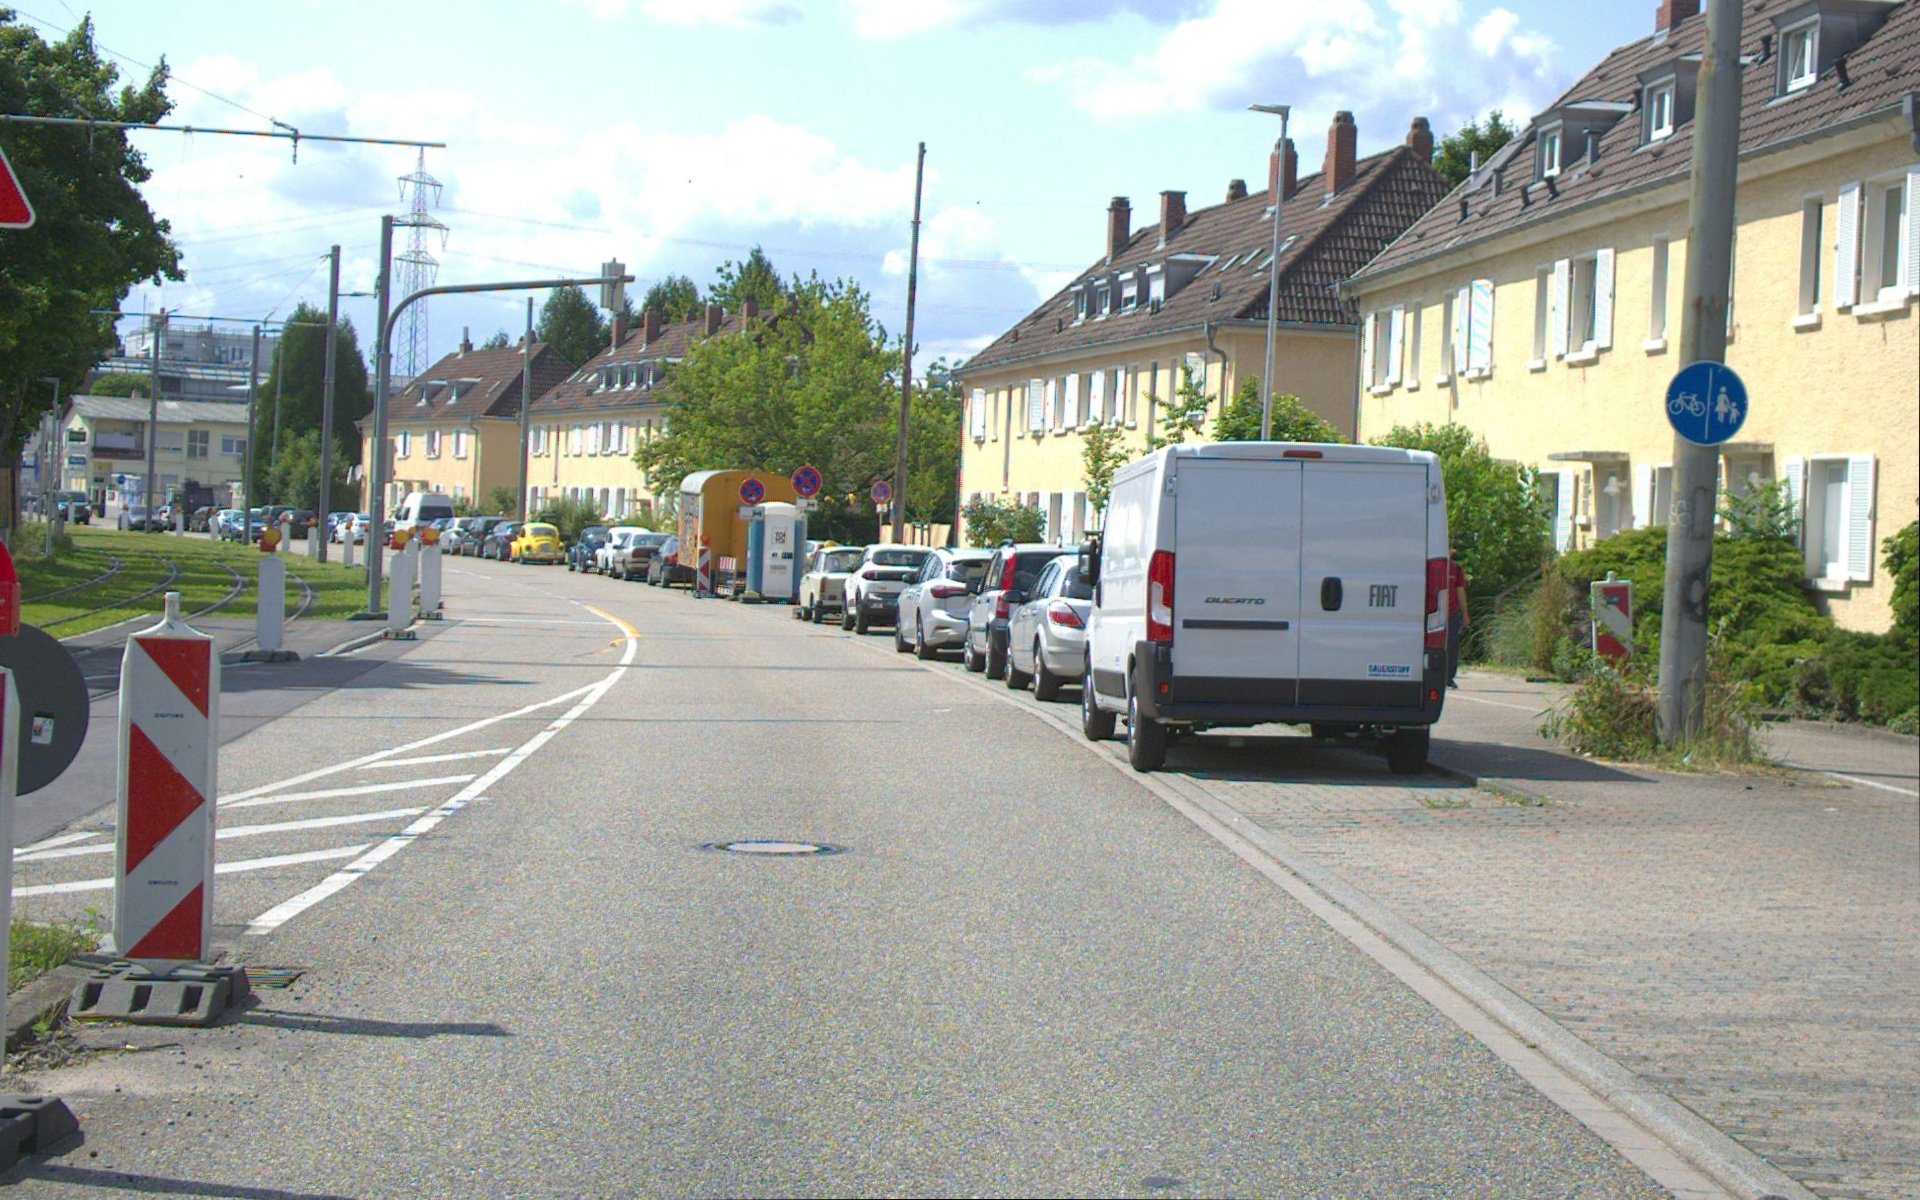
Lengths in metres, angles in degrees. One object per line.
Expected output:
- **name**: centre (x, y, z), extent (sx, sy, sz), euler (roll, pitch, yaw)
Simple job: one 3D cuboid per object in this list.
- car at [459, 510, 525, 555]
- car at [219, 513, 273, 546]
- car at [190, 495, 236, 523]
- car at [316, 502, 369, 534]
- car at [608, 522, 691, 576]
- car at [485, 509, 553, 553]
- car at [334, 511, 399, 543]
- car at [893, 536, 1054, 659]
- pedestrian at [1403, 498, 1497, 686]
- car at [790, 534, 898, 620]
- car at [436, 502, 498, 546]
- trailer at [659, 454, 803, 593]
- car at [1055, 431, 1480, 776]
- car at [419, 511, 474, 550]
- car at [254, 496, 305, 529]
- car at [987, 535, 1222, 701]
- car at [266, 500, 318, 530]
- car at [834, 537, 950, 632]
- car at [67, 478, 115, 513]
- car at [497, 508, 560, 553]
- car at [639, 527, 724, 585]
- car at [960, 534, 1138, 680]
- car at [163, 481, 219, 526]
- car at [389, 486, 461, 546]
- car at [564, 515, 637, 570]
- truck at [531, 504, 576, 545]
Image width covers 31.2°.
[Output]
- **car**: centre (-18.156, -2.622, 133.330), extent (1.635, 1.597, 3.933), euler (3, 1, -21)
- **car**: centre (-32.019, -3.176, 154.109), extent (1.665, 1.444, 3.961), euler (0, 2, -22)
- **car**: centre (-41.609, -5.061, 191.459), extent (1.763, 1.497, 4.001), euler (0, 2, -23)
- **car**: centre (-29.416, -3.919, 163.781), extent (1.620, 1.412, 4.001), euler (0, 2, -23)
- **car**: centre (-9.167, -1.508, 101.136), extent (1.706, 1.444, 4.837), euler (2, 1, -13)
- **car**: centre (-16.432, -2.590, 127.967), extent (1.635, 1.477, 4.126), euler (3, 1, -19)
- **car**: centre (-27.441, -3.379, 158.847), extent (1.798, 1.453, 4.766), euler (0, 1, -24)
- **car**: centre (0.126, -0.075, 45.602), extent (1.749, 1.492, 4.386), euler (2, 1, -4)
- **pedestrian**: centre (5.378, -0.095, 37.775), extent (0.772, 2.007, 0.762), euler (3, 1, -5)
- **car**: centre (-2.177, -0.449, 63.655), extent (1.463, 1.497, 4.110), euler (2, 1, -9)
- **car**: centre (-19.691, -3.052, 137.223), extent (1.635, 1.597, 4.031), euler (3, 1, -19)
- **trailer**: centre (-5.713, -1.903, 85.117), extent (2.689, 3.215, 5.084), euler (2, 1, -12)
- **car**: centre (2.098, -0.042, 25.624), extent (2.276, 2.175, 6.368), euler (2, 1, -2)
- **car**: centre (-21.175, -2.875, 141.624), extent (1.535, 1.440, 3.738), euler (3, 1, -19)
- **car**: centre (-34.980, -4.508, 176.657), extent (1.763, 1.637, 4.001), euler (0, 2, -23)
- **car**: centre (1.396, 0.136, 34.824), extent (1.707, 1.499, 4.256), euler (2, 1, -6)
- **car**: centre (-33.418, -4.262, 171.923), extent (1.763, 1.412, 4.001), euler (0, 2, -23)
- **car**: centre (-1.166, -0.285, 57.381), extent (1.527, 1.476, 3.810), euler (2, 1, -7)
- **car**: centre (-50.281, -6.058, 198.829), extent (1.955, 1.959, 5.294), euler (1, 1, -22)
- **car**: centre (-15.473, -2.505, 123.158), extent (1.636, 1.477, 3.933), euler (-1, 3, -17)
- **car**: centre (-7.588, -1.216, 93.408), extent (1.577, 1.444, 4.455), euler (2, 1, -13)
- **car**: centre (0.981, 0.043, 39.765), extent (1.628, 1.544, 3.810), euler (2, 1, -4)
- **car**: centre (-44.119, -5.562, 197.123), extent (1.959, 2.470, 6.062), euler (0, 2, -24)
- **car**: centre (-22.843, -3.609, 146.705), extent (1.929, 2.472, 5.519), euler (1, 1, -20)
- **car**: centre (-11.638, -1.881, 111.068), extent (1.548, 1.635, 4.248), euler (2, 1, -16)
- **truck**: centre (-17.293, -3.203, 146.052), extent (1.346, 1.683, 2.442), euler (2, 1, -19)
